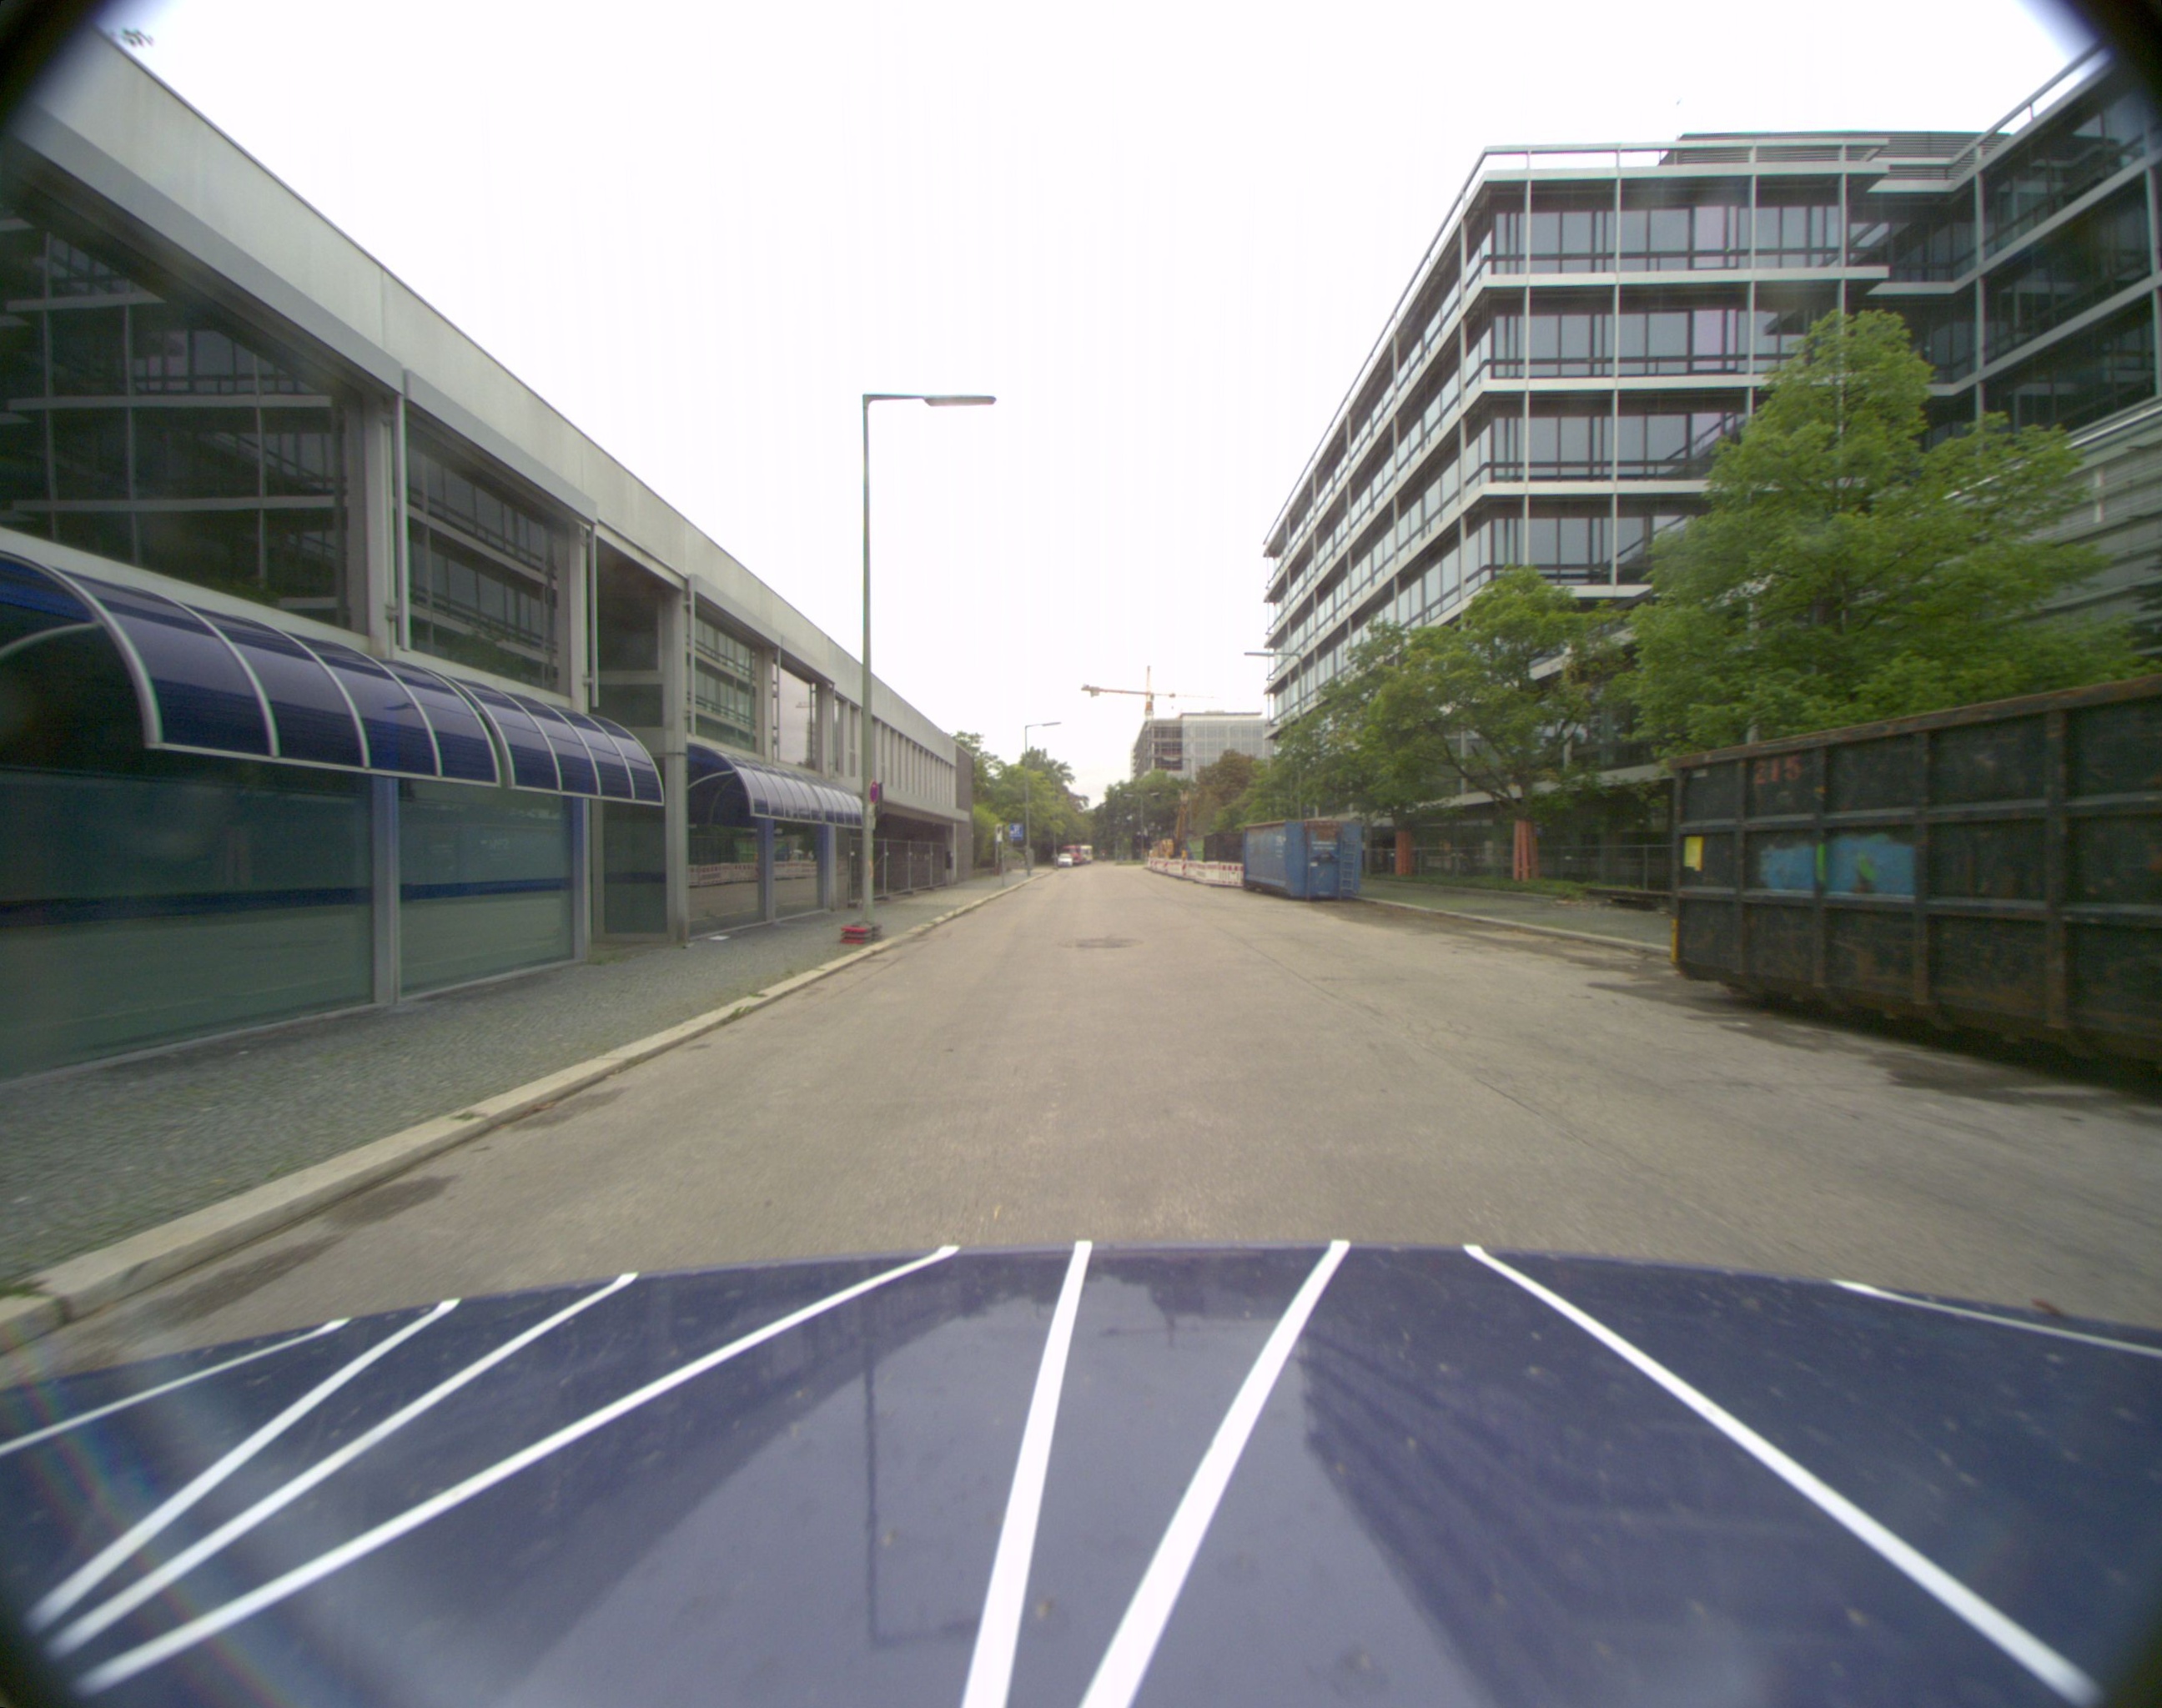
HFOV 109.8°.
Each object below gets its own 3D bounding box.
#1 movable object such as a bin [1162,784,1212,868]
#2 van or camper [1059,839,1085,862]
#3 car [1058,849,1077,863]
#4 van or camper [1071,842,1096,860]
[{"bbox_3d":[8.343,-2.128,60.850,3.241,6.286,8.337,0,1,3],"label":"movable object such as a bin"},{"bbox_3d":[-1.016,-0.408,93.263,2.666,2.751,6.916,0,1,4],"label":"van or camper"},{"bbox_3d":[-1.500,0.224,87.001,1.912,1.627,4.000,0,1,3],"label":"car"},{"bbox_3d":[0.412,-0.439,107.547,2.665,2.436,6.448,0,1,7],"label":"van or camper"}]
